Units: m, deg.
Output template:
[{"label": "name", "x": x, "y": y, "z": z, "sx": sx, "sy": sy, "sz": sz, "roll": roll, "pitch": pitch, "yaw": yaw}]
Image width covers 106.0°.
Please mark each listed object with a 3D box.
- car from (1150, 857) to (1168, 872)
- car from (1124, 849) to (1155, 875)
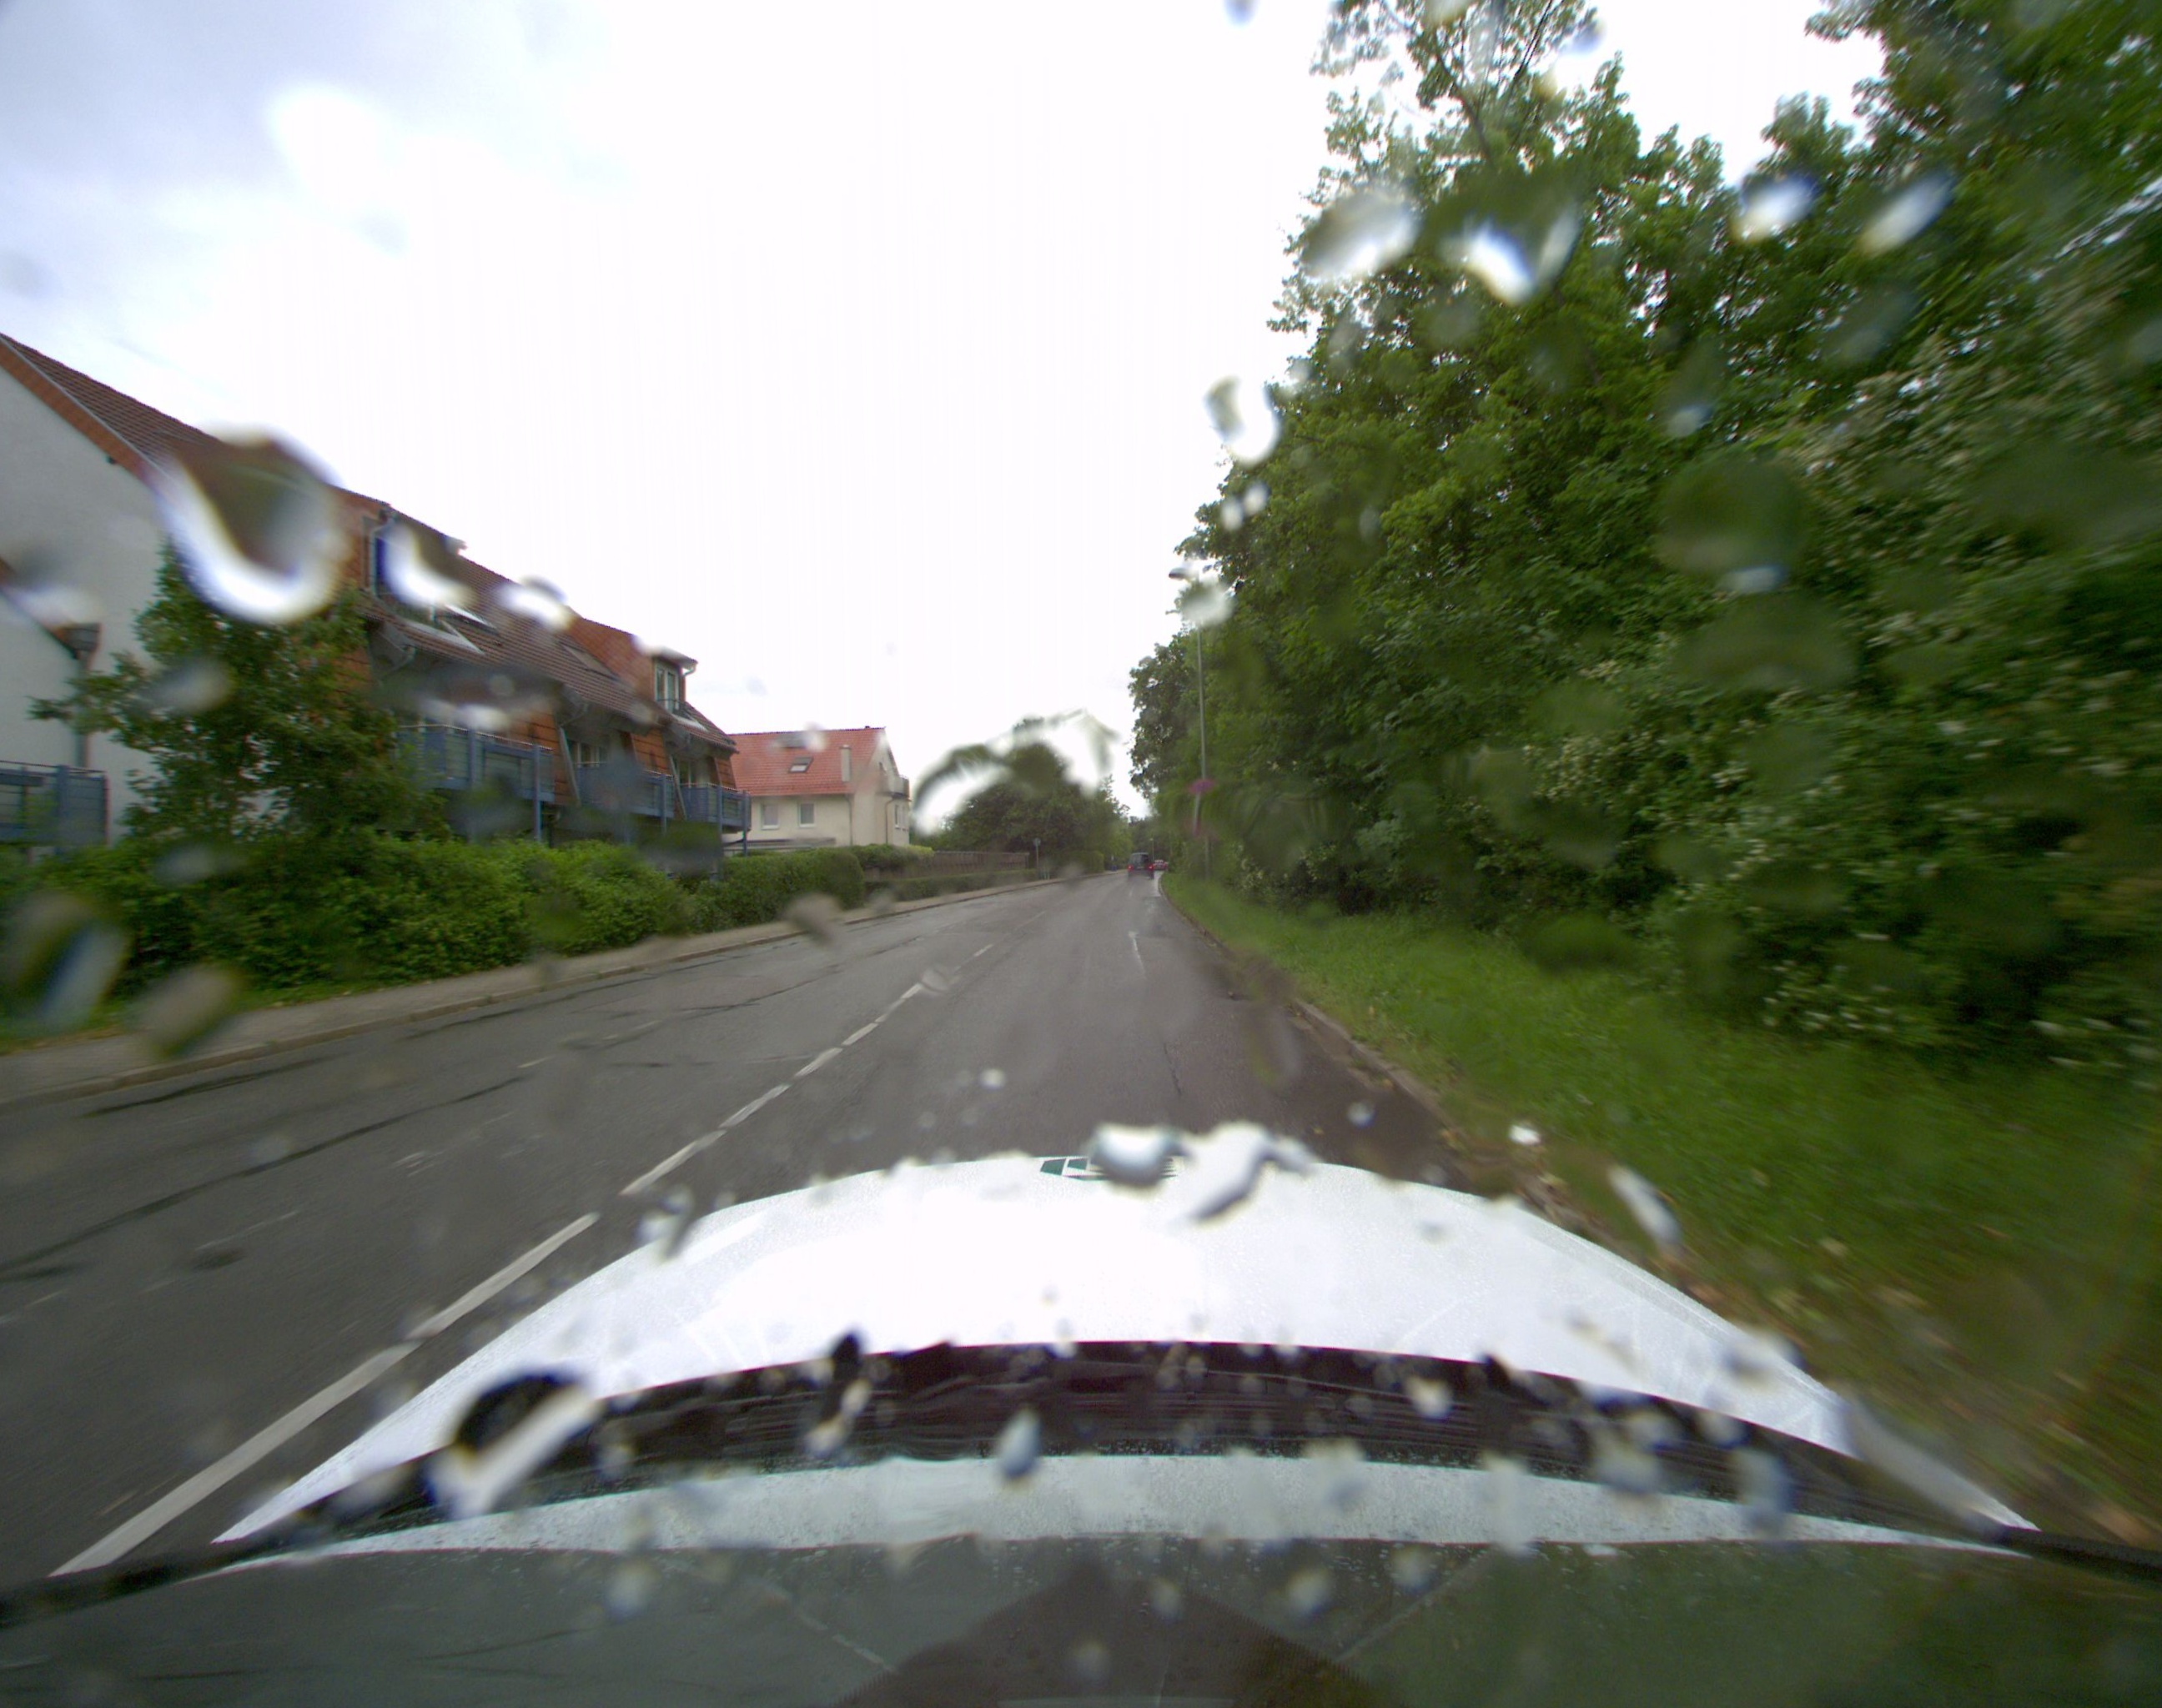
[{"label": "car", "x": 9.871, "y": 1.307, "z": 103.027, "sx": 1.939, "sy": 1.750, "sz": 4.010, "roll": -2, "pitch": 0, "yaw": 8}, {"label": "car", "x": 4.203, "y": 0.545, "z": 58.380, "sx": 1.983, "sy": 1.793, "sz": 4.008, "roll": 0, "pitch": 1, "yaw": 7}]
